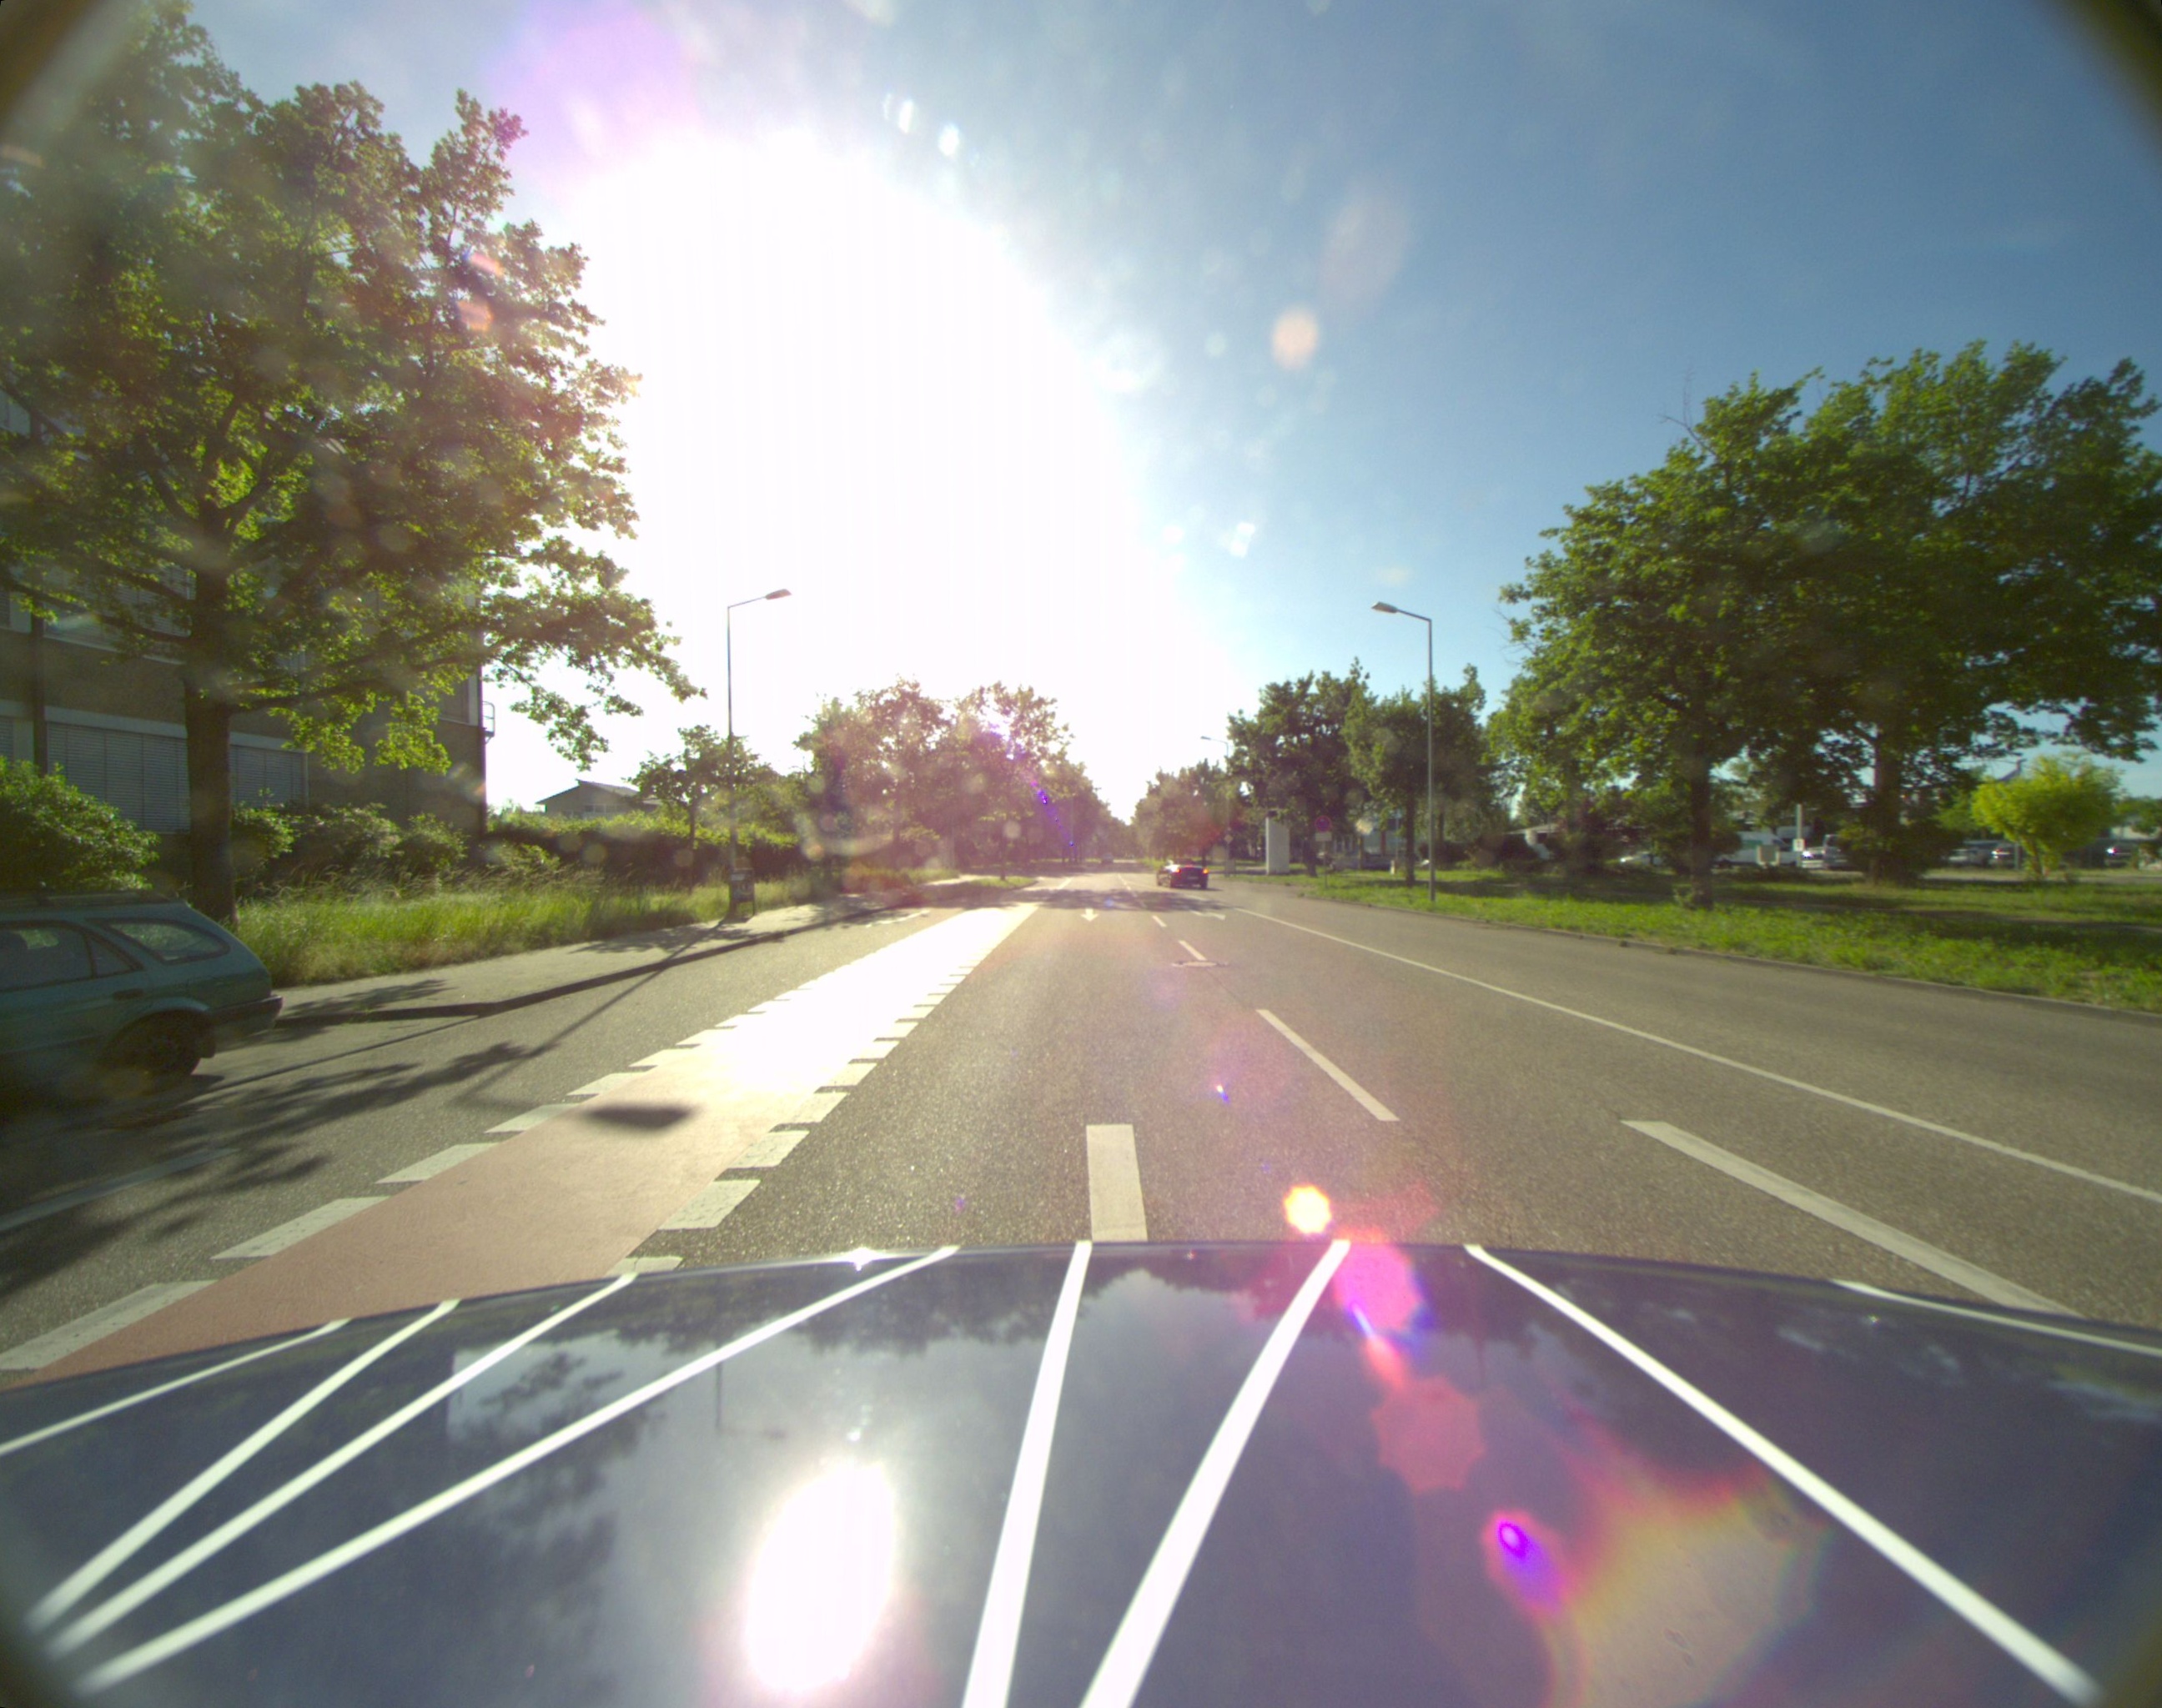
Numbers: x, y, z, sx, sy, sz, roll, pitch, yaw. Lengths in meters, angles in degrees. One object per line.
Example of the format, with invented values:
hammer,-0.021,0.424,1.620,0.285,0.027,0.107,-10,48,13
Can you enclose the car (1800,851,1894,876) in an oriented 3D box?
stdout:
car,41.228,0.491,40.931,3.532,1.294,1.574,-1,1,-2

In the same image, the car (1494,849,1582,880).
car,39.904,0.888,66.427,6.356,2.501,2.300,-2,1,-3

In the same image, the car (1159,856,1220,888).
car,5.153,0.837,36.767,1.999,1.395,4.586,2,0,-4

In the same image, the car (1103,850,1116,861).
car,4.122,0.239,110.444,1.827,1.477,3.999,-2,1,1

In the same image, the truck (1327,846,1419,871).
truck,25.087,0.357,65.534,7.130,2.038,2.140,0,1,-2

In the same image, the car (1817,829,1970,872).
car,40.625,-0.177,38.073,5.424,2.058,2.300,-1,1,-3

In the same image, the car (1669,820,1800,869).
car,39.619,-0.595,46.156,6.176,2.687,2.300,-2,1,-3

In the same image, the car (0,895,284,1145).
car,-7.472,1.083,4.214,1.596,1.420,4.203,1,1,2
